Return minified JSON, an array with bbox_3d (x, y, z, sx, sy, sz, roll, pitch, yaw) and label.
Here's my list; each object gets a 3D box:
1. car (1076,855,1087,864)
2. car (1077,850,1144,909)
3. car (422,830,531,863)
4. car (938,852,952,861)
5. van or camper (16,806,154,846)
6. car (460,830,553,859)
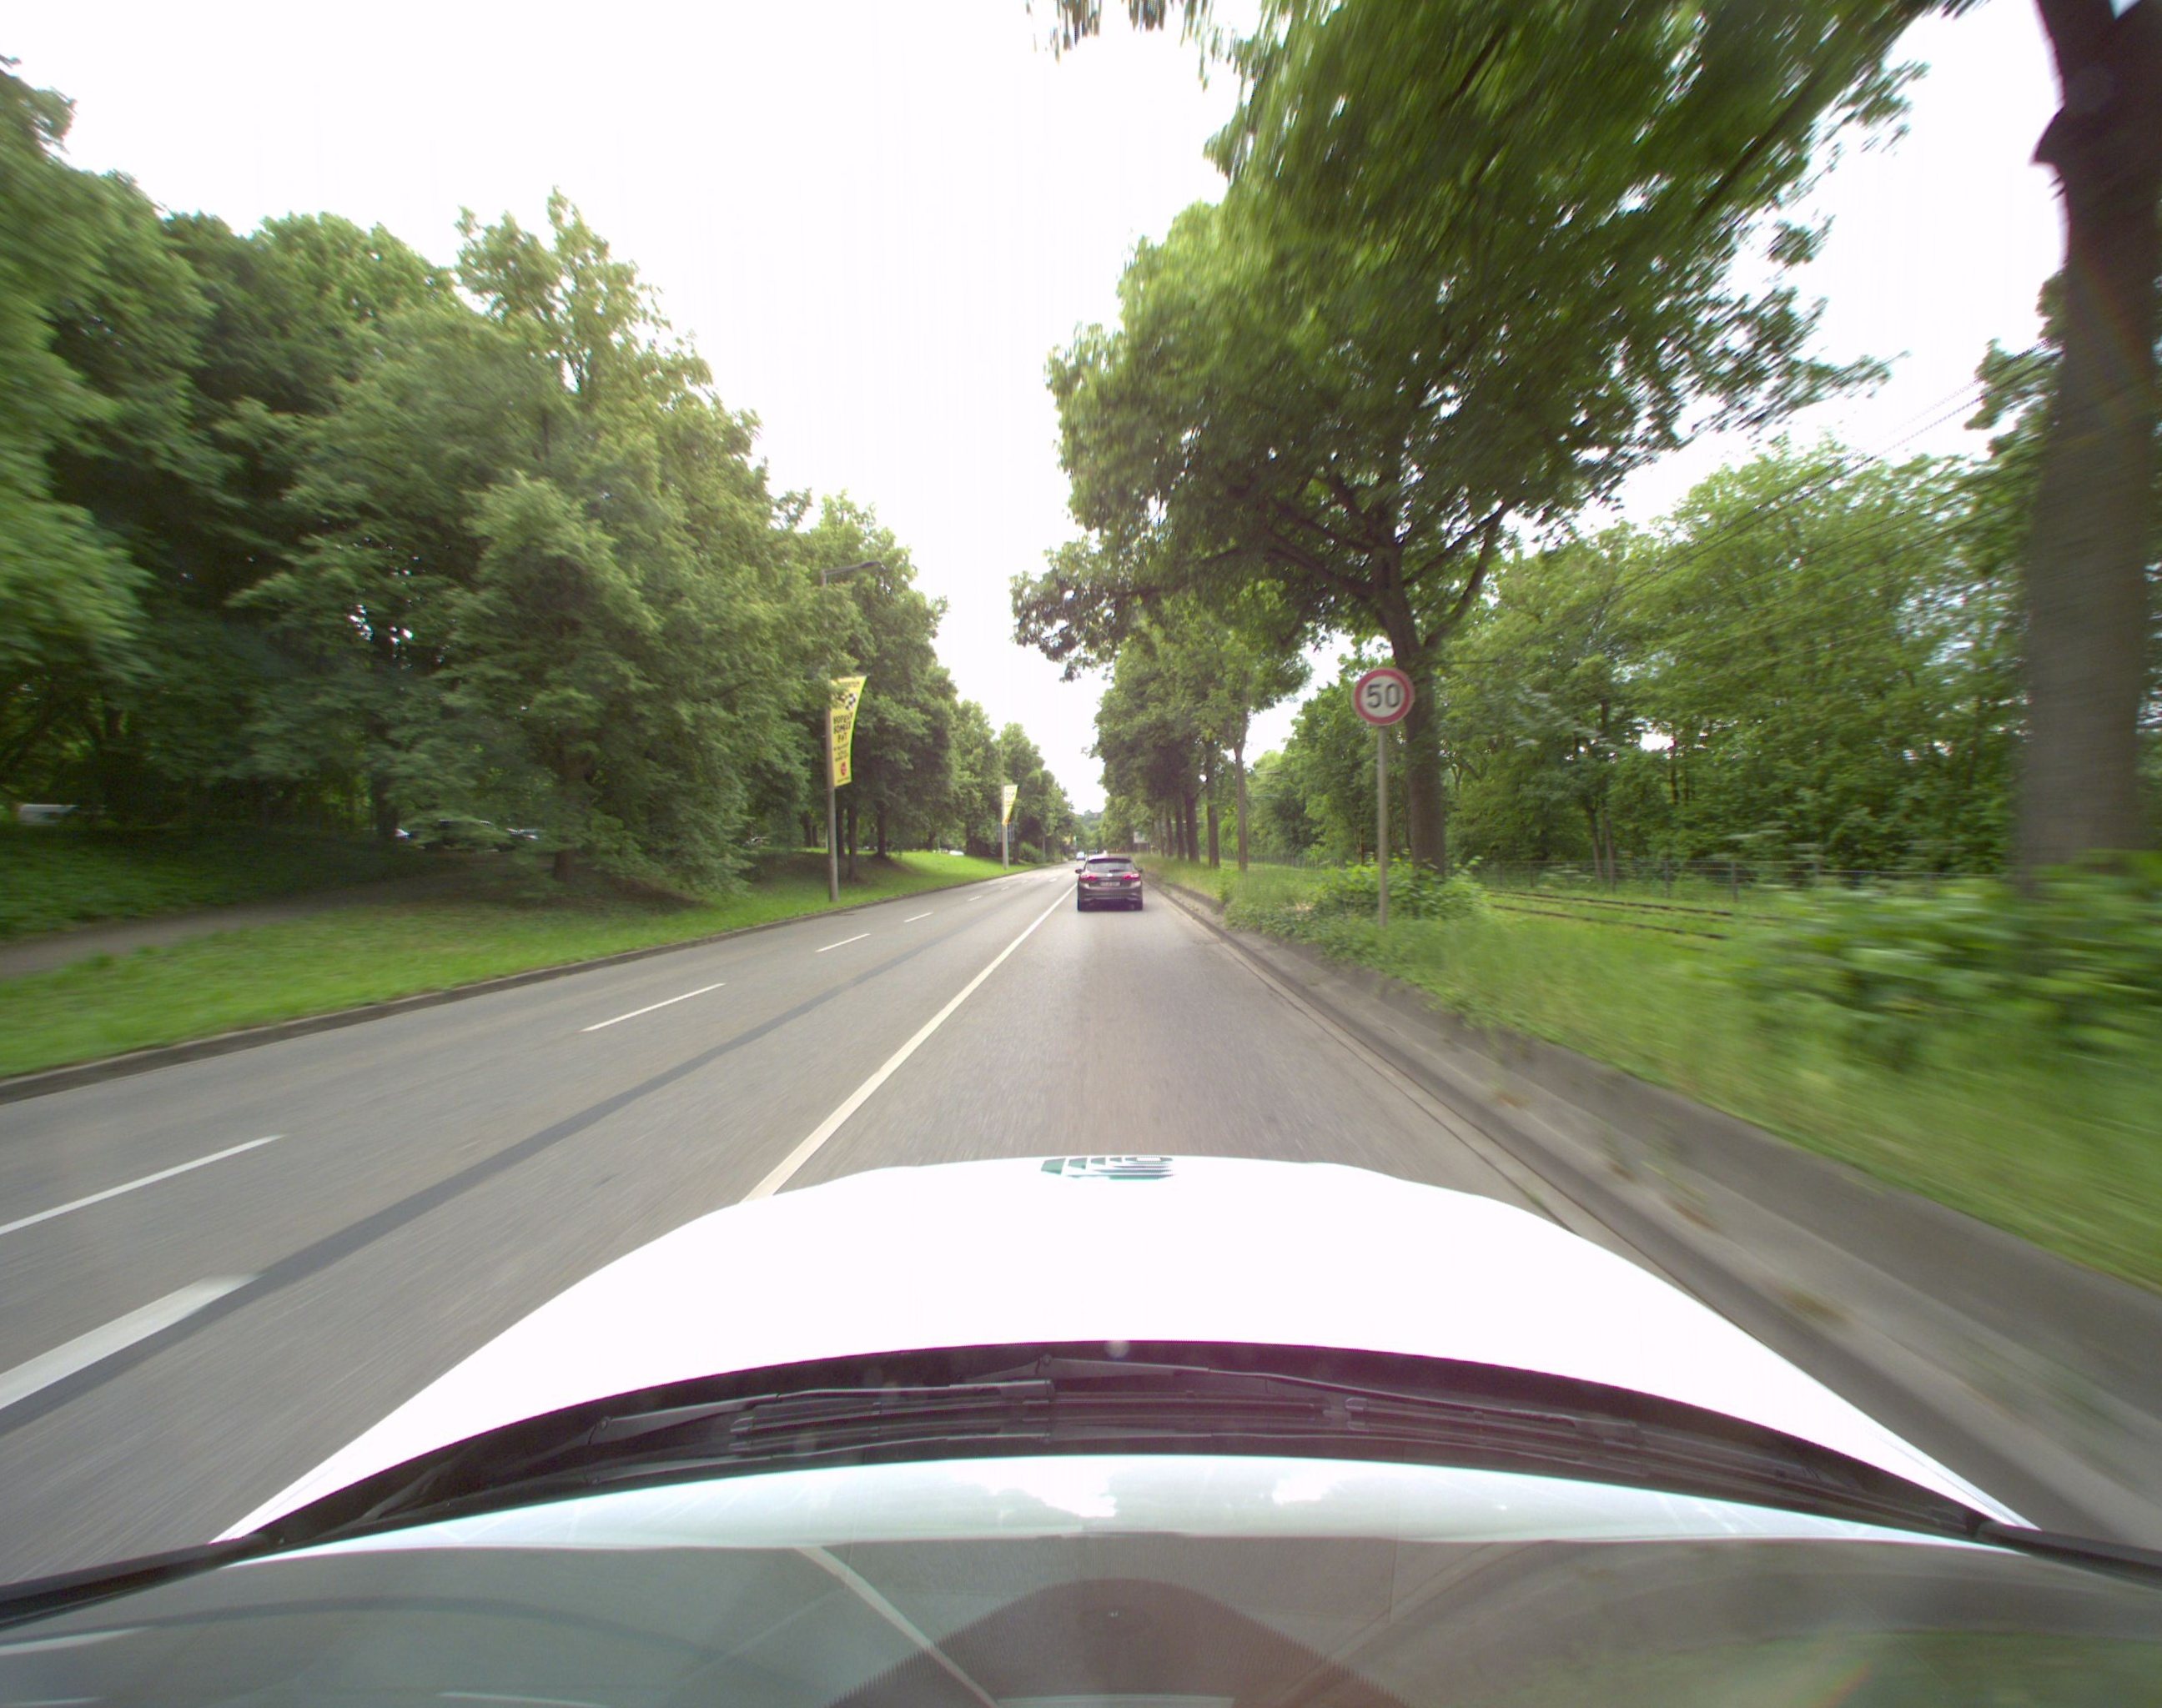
[{"bbox_3d":[0.131,1.216,174.630,1.986,1.955,5.186,-2,-1,2],"label":"car"},{"bbox_3d":[0.808,0.674,23.007,1.724,1.537,3.552,0,-1,1],"label":"car"},{"bbox_3d":[-35.929,-0.424,48.593,4.913,1.895,1.983,0,-1,-26],"label":"car"},{"bbox_3d":[-23.818,0.384,142.430,1.652,1.486,3.970,0,-1,-22],"label":"car"},{"bbox_3d":[-53.006,-1.449,43.448,4.221,2.014,1.913,0,-1,-19],"label":"van or camper"},{"bbox_3d":[-39.483,-0.616,56.155,4.913,1.895,2.301,0,-1,-26],"label":"car"}]
